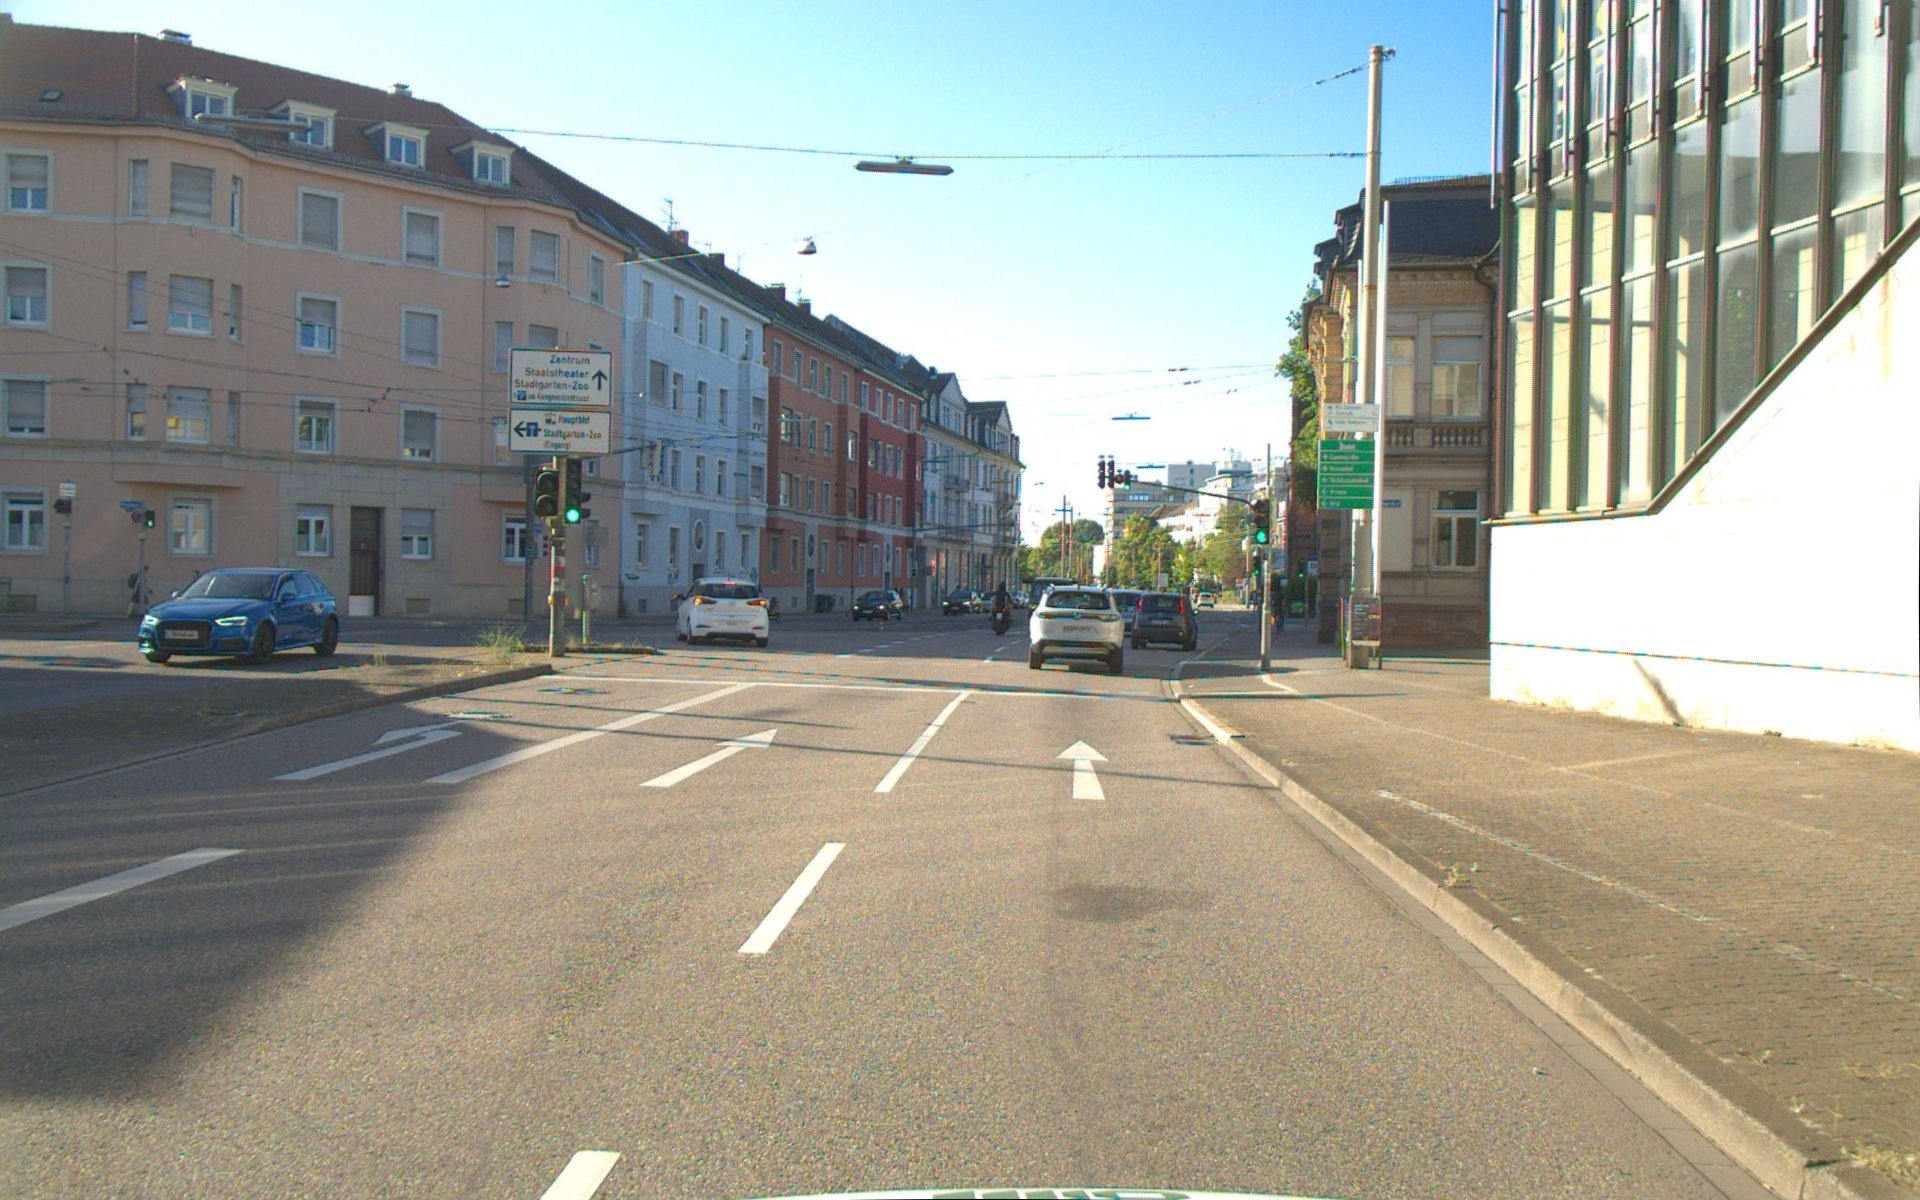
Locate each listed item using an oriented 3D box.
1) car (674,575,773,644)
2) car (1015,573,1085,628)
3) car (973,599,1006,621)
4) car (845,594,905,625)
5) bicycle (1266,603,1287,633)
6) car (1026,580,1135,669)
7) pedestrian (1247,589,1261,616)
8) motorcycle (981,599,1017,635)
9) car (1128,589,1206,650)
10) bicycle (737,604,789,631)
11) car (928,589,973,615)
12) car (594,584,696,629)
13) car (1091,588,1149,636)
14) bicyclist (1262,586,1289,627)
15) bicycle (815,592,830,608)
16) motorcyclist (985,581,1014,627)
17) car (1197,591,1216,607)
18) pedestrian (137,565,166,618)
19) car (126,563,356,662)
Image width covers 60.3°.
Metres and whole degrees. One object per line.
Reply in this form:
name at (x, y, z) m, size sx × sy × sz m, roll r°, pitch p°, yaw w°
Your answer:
car at (-5.313, 0.186, 36.849) m, size 1.756 × 1.418 × 4.090 m, roll 1°, pitch 0°, yaw -14°
car at (3.610, 0.022, 65.469) m, size 2.125 × 2.044 × 4.812 m, roll 1°, pitch 0°, yaw 11°
car at (1.983, 0.669, 110.497) m, size 1.689 × 1.399 × 3.537 m, roll 1°, pitch 0°, yaw 10°
car at (-4.059, 0.428, 79.887) m, size 1.951 × 1.416 × 4.565 m, roll 1°, pitch 0°, yaw 9°
bicycle at (12.235, 0.699, 64.044) m, size 0.754 × 1.105 × 1.872 m, roll 1°, pitch 0°, yaw 10°
car at (2.289, 0.426, 31.832) m, size 1.907 × 1.555 × 4.092 m, roll 2°, pitch 1°, yaw 3°
pedestrian at (20.590, 0.166, 115.944) m, size 0.857 × 1.856 × 1.185 m, roll 1°, pitch 0°, yaw 12°
motorcycle at (1.263, 0.515, 52.832) m, size 0.760 × 1.101 × 2.283 m, roll 1°, pitch 0°, yaw 11°
car at (5.726, 0.501, 45.393) m, size 1.694 × 1.526 × 4.003 m, roll 2°, pitch 0°, yaw 13°
bicycle at (-8.226, 0.700, 69.234) m, size 0.914 × 1.074 × 3.356 m, roll 1°, pitch 0°, yaw 16°
car at (-0.542, 0.104, 100.082) m, size 1.881 × 1.481 × 4.502 m, roll 1°, pitch 0°, yaw 11°
car at (-10.762, 0.213, 56.798) m, size 1.785 × 1.450 × 4.331 m, roll 1°, pitch 0°, yaw 13°
car at (5.761, 0.426, 59.043) m, size 1.775 × 1.610 × 4.003 m, roll 1°, pitch 0°, yaw 9°
bicyclist at (12.231, 0.243, 64.124) m, size 0.816 × 1.552 × 0.994 m, roll 1°, pitch 0°, yaw 2°
bicycle at (-7.920, 0.004, 95.233) m, size 0.327 × 0.906 × 1.605 m, roll 1°, pitch 0°, yaw 16°
motorcyclist at (1.264, 0.124, 52.779) m, size 0.760 × 1.448 × 0.892 m, roll 1°, pitch 0°, yaw 11°
car at (27.829, -0.122, 186.701) m, size 1.951 × 1.691 × 4.501 m, roll 1°, pitch 1°, yaw 10°
pedestrian at (-24.670, -0.261, 50.443) m, size 0.711 × 1.591 × 0.670 m, roll 1°, pitch 0°, yaw -32°
car at (-11.328, 0.165, 26.412) m, size 1.773 × 1.415 × 4.247 m, roll 2°, pitch 1°, yaw 0°
